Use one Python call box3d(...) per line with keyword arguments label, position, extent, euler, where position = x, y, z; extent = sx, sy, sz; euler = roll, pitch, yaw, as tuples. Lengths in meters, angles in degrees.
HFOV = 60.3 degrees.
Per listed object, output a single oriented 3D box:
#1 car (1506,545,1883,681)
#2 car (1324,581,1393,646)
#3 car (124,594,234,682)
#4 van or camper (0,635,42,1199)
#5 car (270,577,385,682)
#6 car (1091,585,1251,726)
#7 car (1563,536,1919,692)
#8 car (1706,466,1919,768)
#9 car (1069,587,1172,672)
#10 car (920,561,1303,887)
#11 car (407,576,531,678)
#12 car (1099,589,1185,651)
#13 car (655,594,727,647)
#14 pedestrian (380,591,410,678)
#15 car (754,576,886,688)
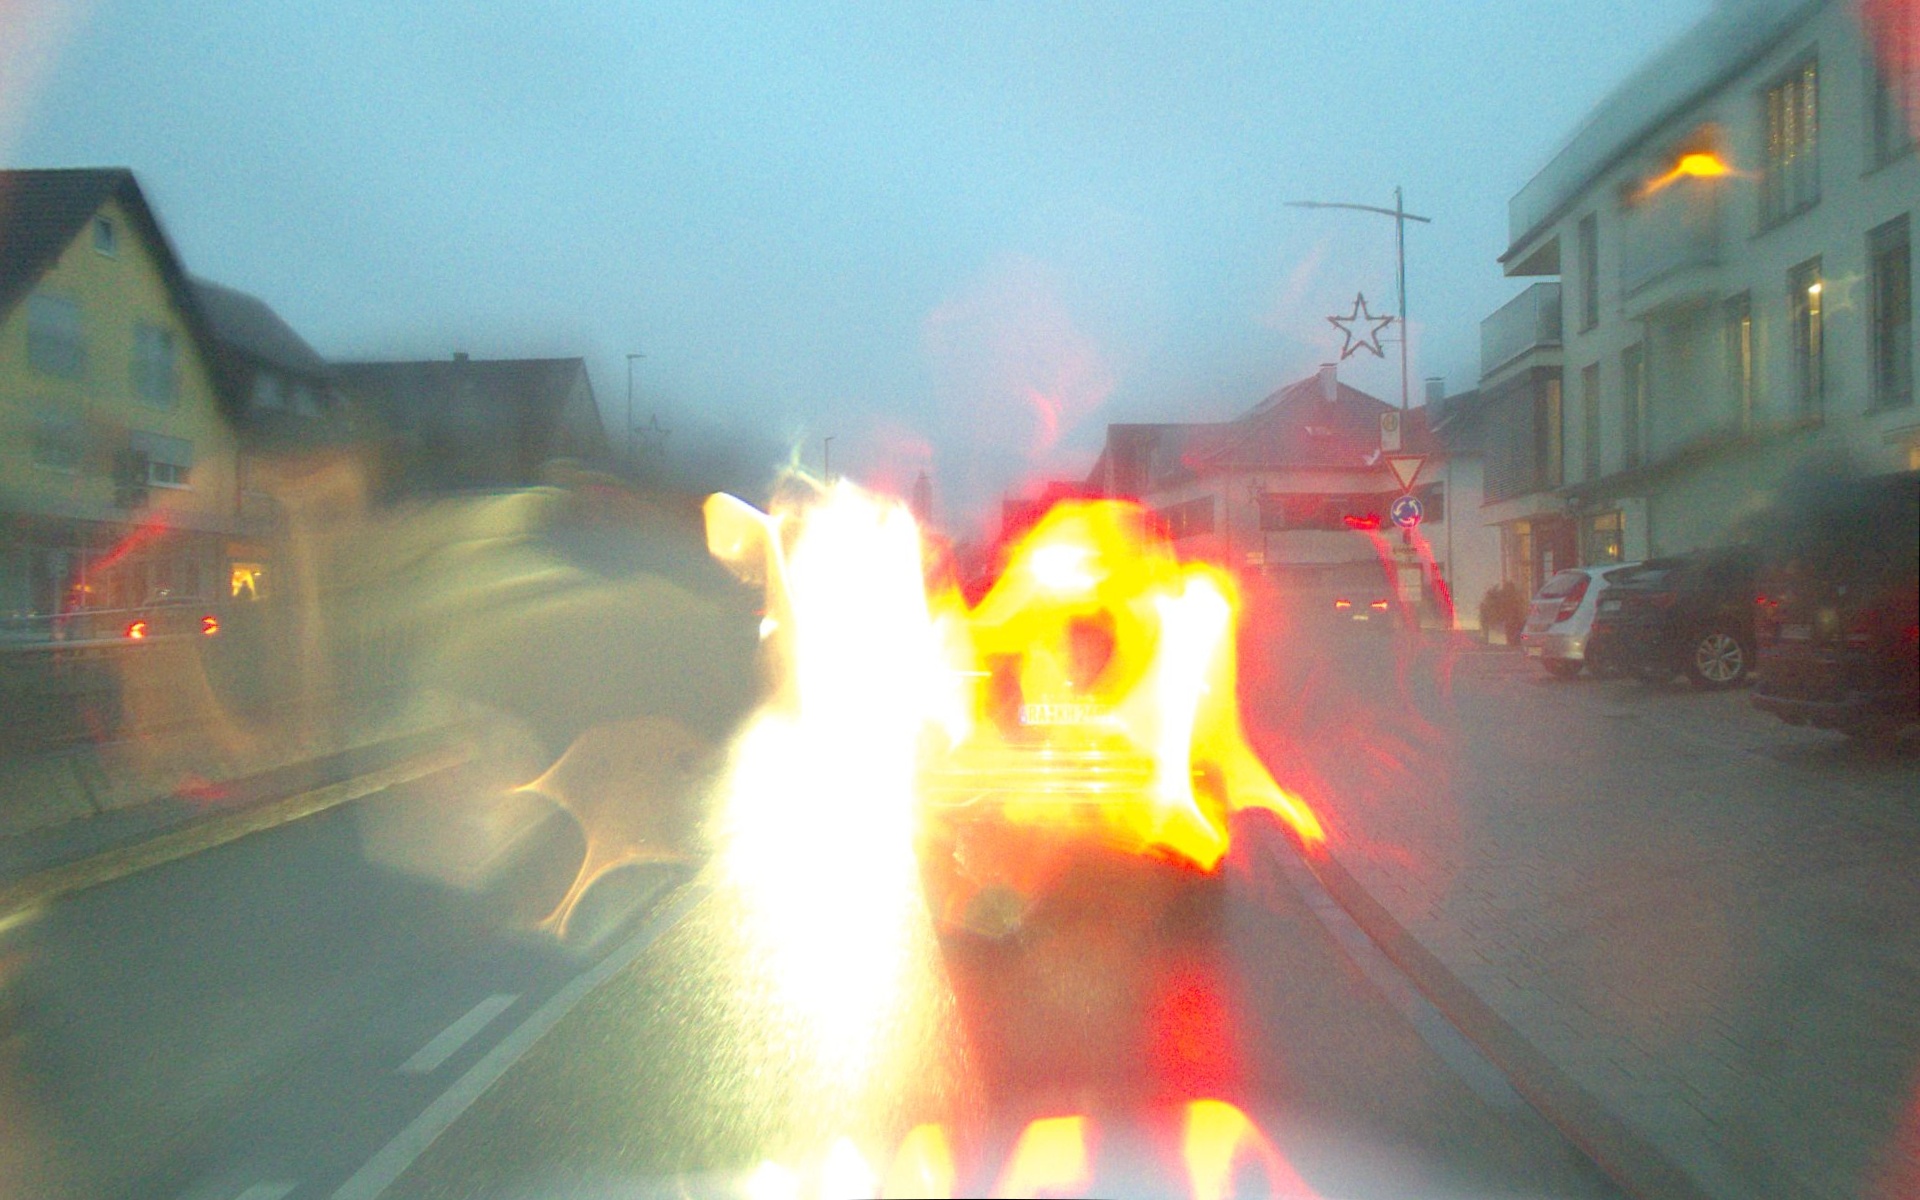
box3d(label="car", position=(9.606, 0.166, 21.835), extent=(4.121, 1.485, 1.792), euler=(-3, 0, -2))
box3d(label="car", position=(13.679, 0.428, 56.861), extent=(2.112, 2.025, 4.503), euler=(-4, 0, 13))
box3d(label="car", position=(-15.670, 0.714, 33.354), extent=(1.797, 1.641, 4.028), euler=(-1, 0, -23))
box3d(label="van or camper", position=(-2.800, 0.791, 1.964), extent=(1.530, 1.379, 3.421), euler=(-1, 0, -1))
box3d(label="car", position=(-12.812, 0.545, 33.372), extent=(2.010, 1.959, 4.028), euler=(-1, 0, -23))
box3d(label="car", position=(2.382, 0.577, 19.425), extent=(1.647, 1.478, 4.002), euler=(-1, 0, 4))
box3d(label="car", position=(9.250, 0.123, 18.726), extent=(4.121, 1.485, 1.792), euler=(-3, 0, -2))
box3d(label="car", position=(8.132, -0.081, 11.914), extent=(4.470, 1.953, 1.950), euler=(-6, -1, 2))
box3d(label="car", position=(3.013, 0.501, 30.953), extent=(1.776, 1.436, 4.003), euler=(1, 1, 6))
box3d(label="car", position=(0.924, 0.608, 10.571), extent=(1.923, 1.622, 4.315), euler=(1, 1, 4))
box3d(label="car", position=(-10.223, 0.517, 34.260), extent=(2.010, 1.959, 4.028), euler=(-1, 0, -23))
box3d(label="car", position=(4.389, 0.461, 40.441), extent=(1.951, 1.416, 4.002), euler=(-1, 0, 4))
box3d(label="car", position=(-9.543, 0.681, 58.497), extent=(1.962, 1.442, 3.983), euler=(-4, 5, -17))
box3d(label="pedestrian", position=(-11.512, 0.693, 33.696), extent=(0.489, 1.731, 0.708), euler=(-2, 0, -23))
box3d(label="car", position=(-2.232, 0.466, 27.281), extent=(1.701, 1.682, 4.001), euler=(-1, 0, 1))
